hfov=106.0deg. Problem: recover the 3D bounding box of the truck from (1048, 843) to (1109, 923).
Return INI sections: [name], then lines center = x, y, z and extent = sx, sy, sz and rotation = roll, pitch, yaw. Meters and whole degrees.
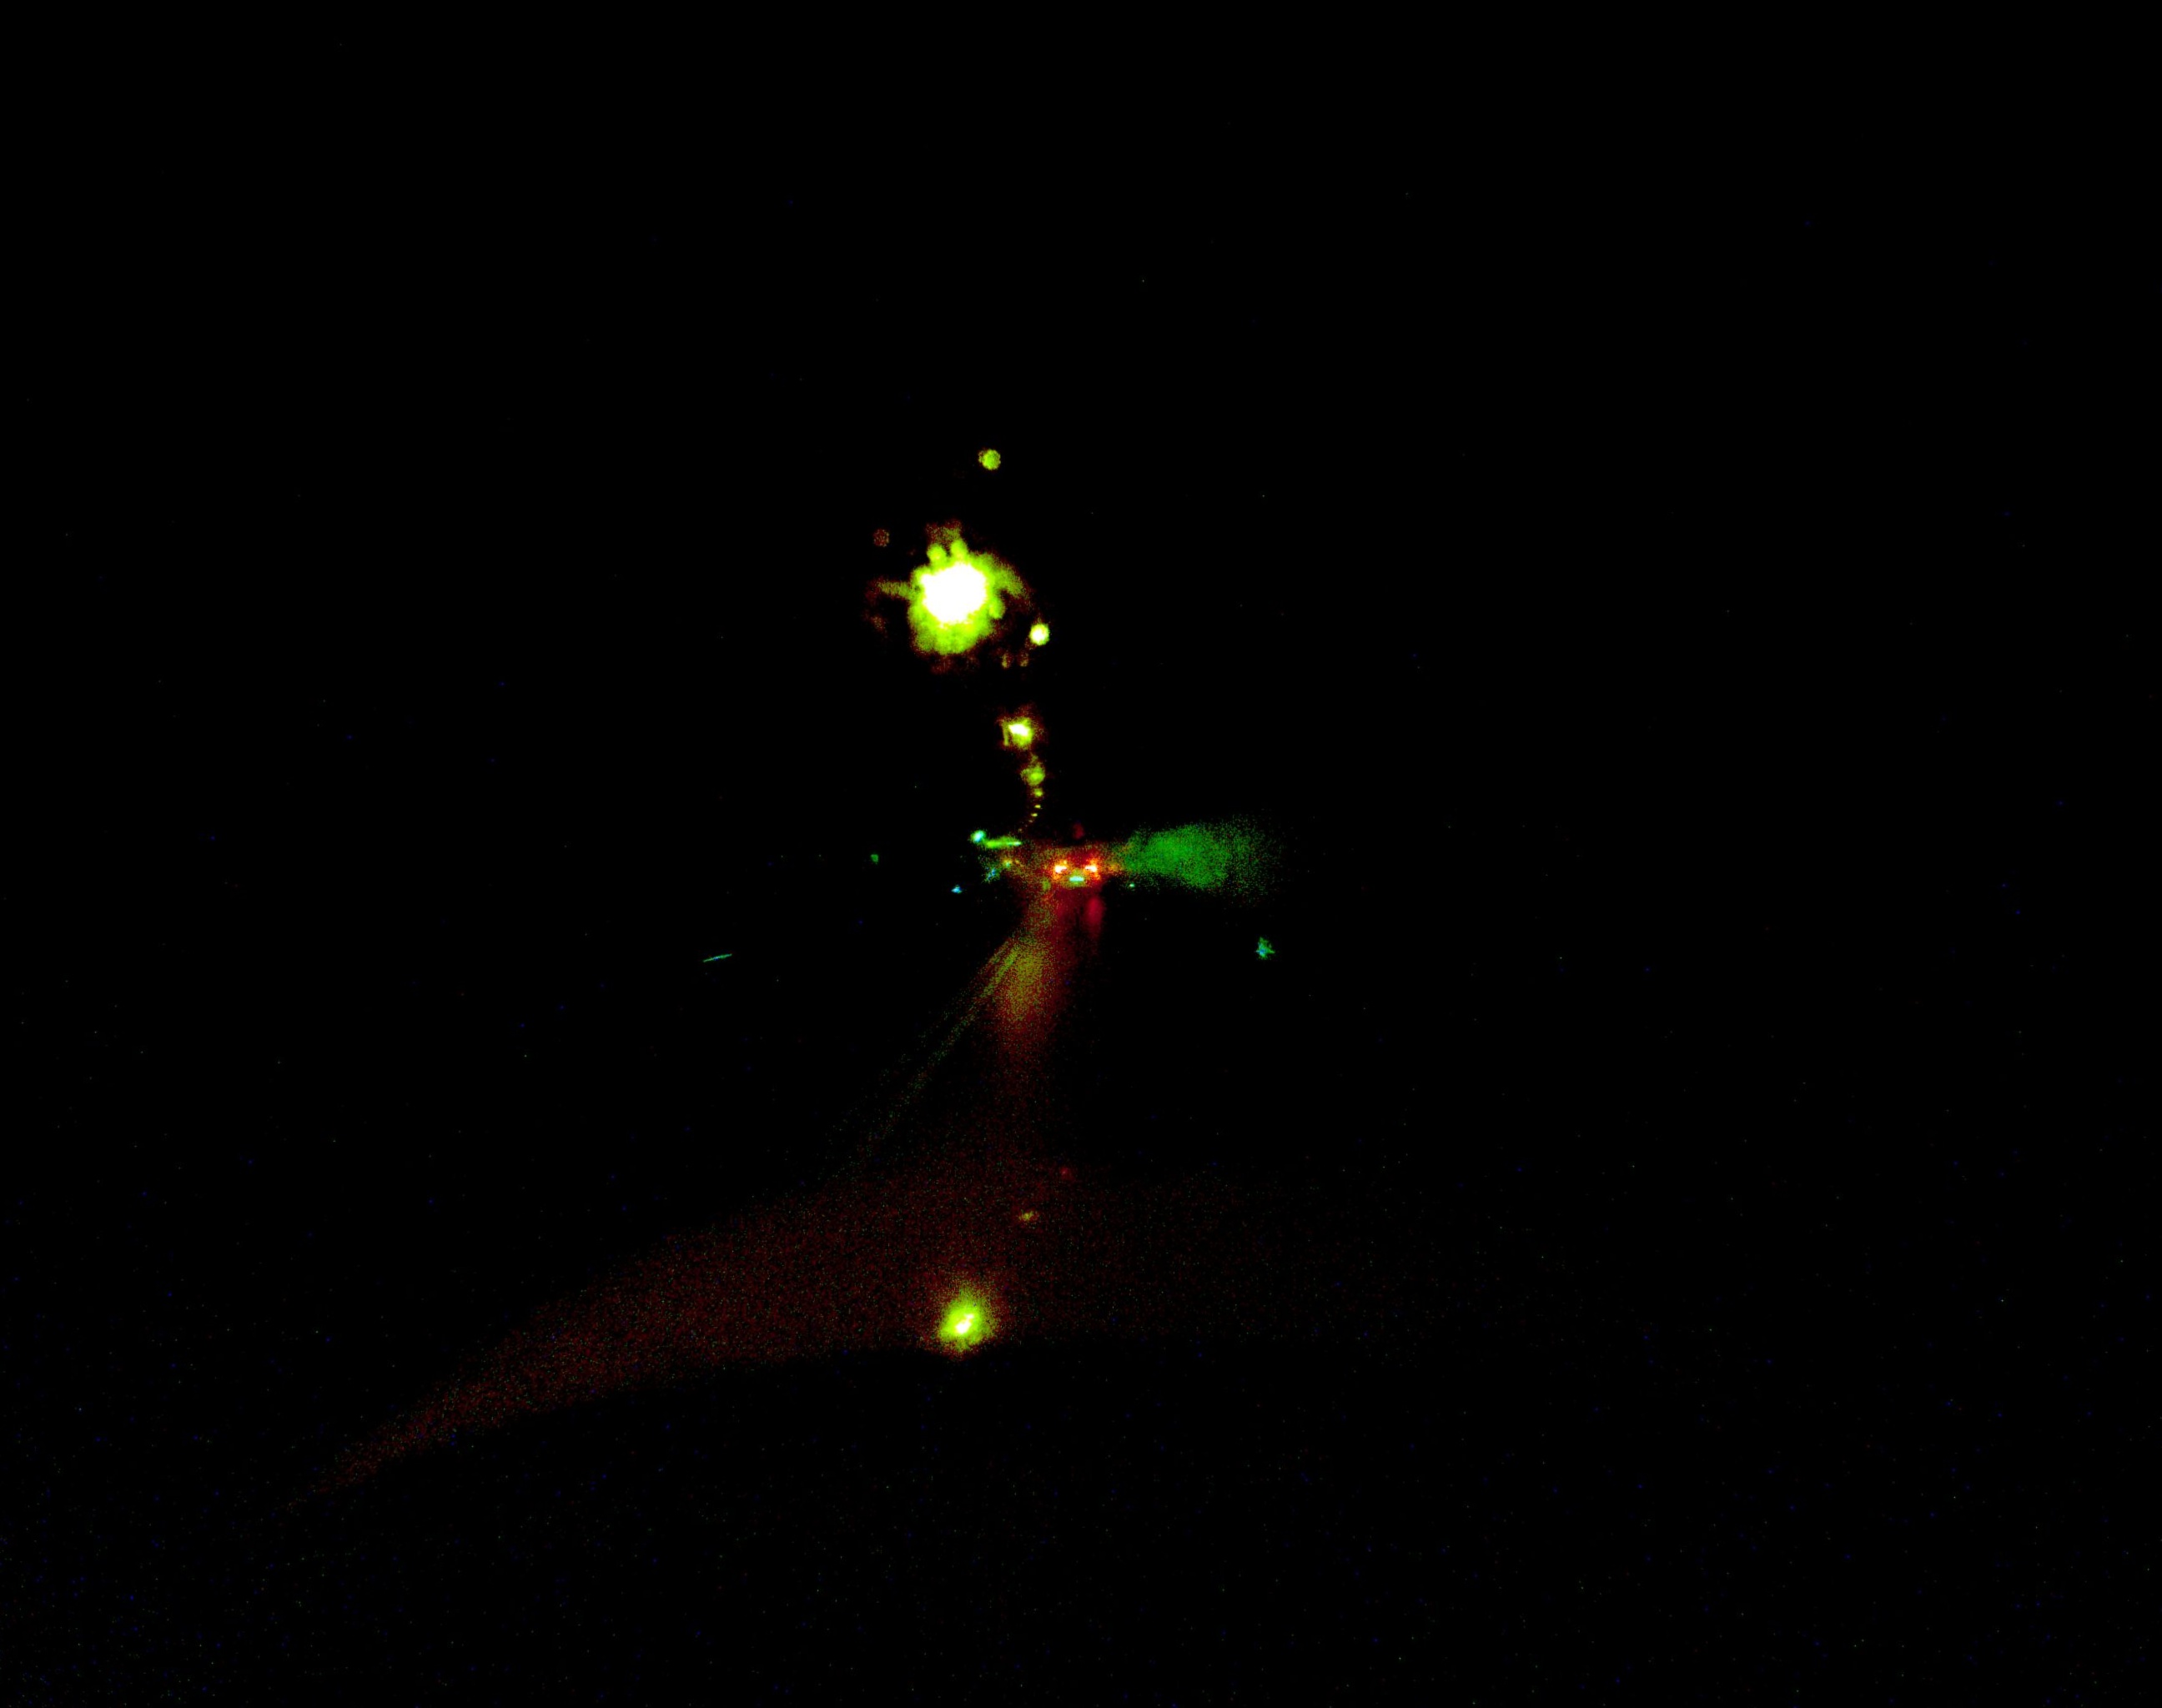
[truck]
center = -0.118, 1.117, 34.588
extent = 2.255, 3.011, 7.412
rotation = 1, 0, -1
